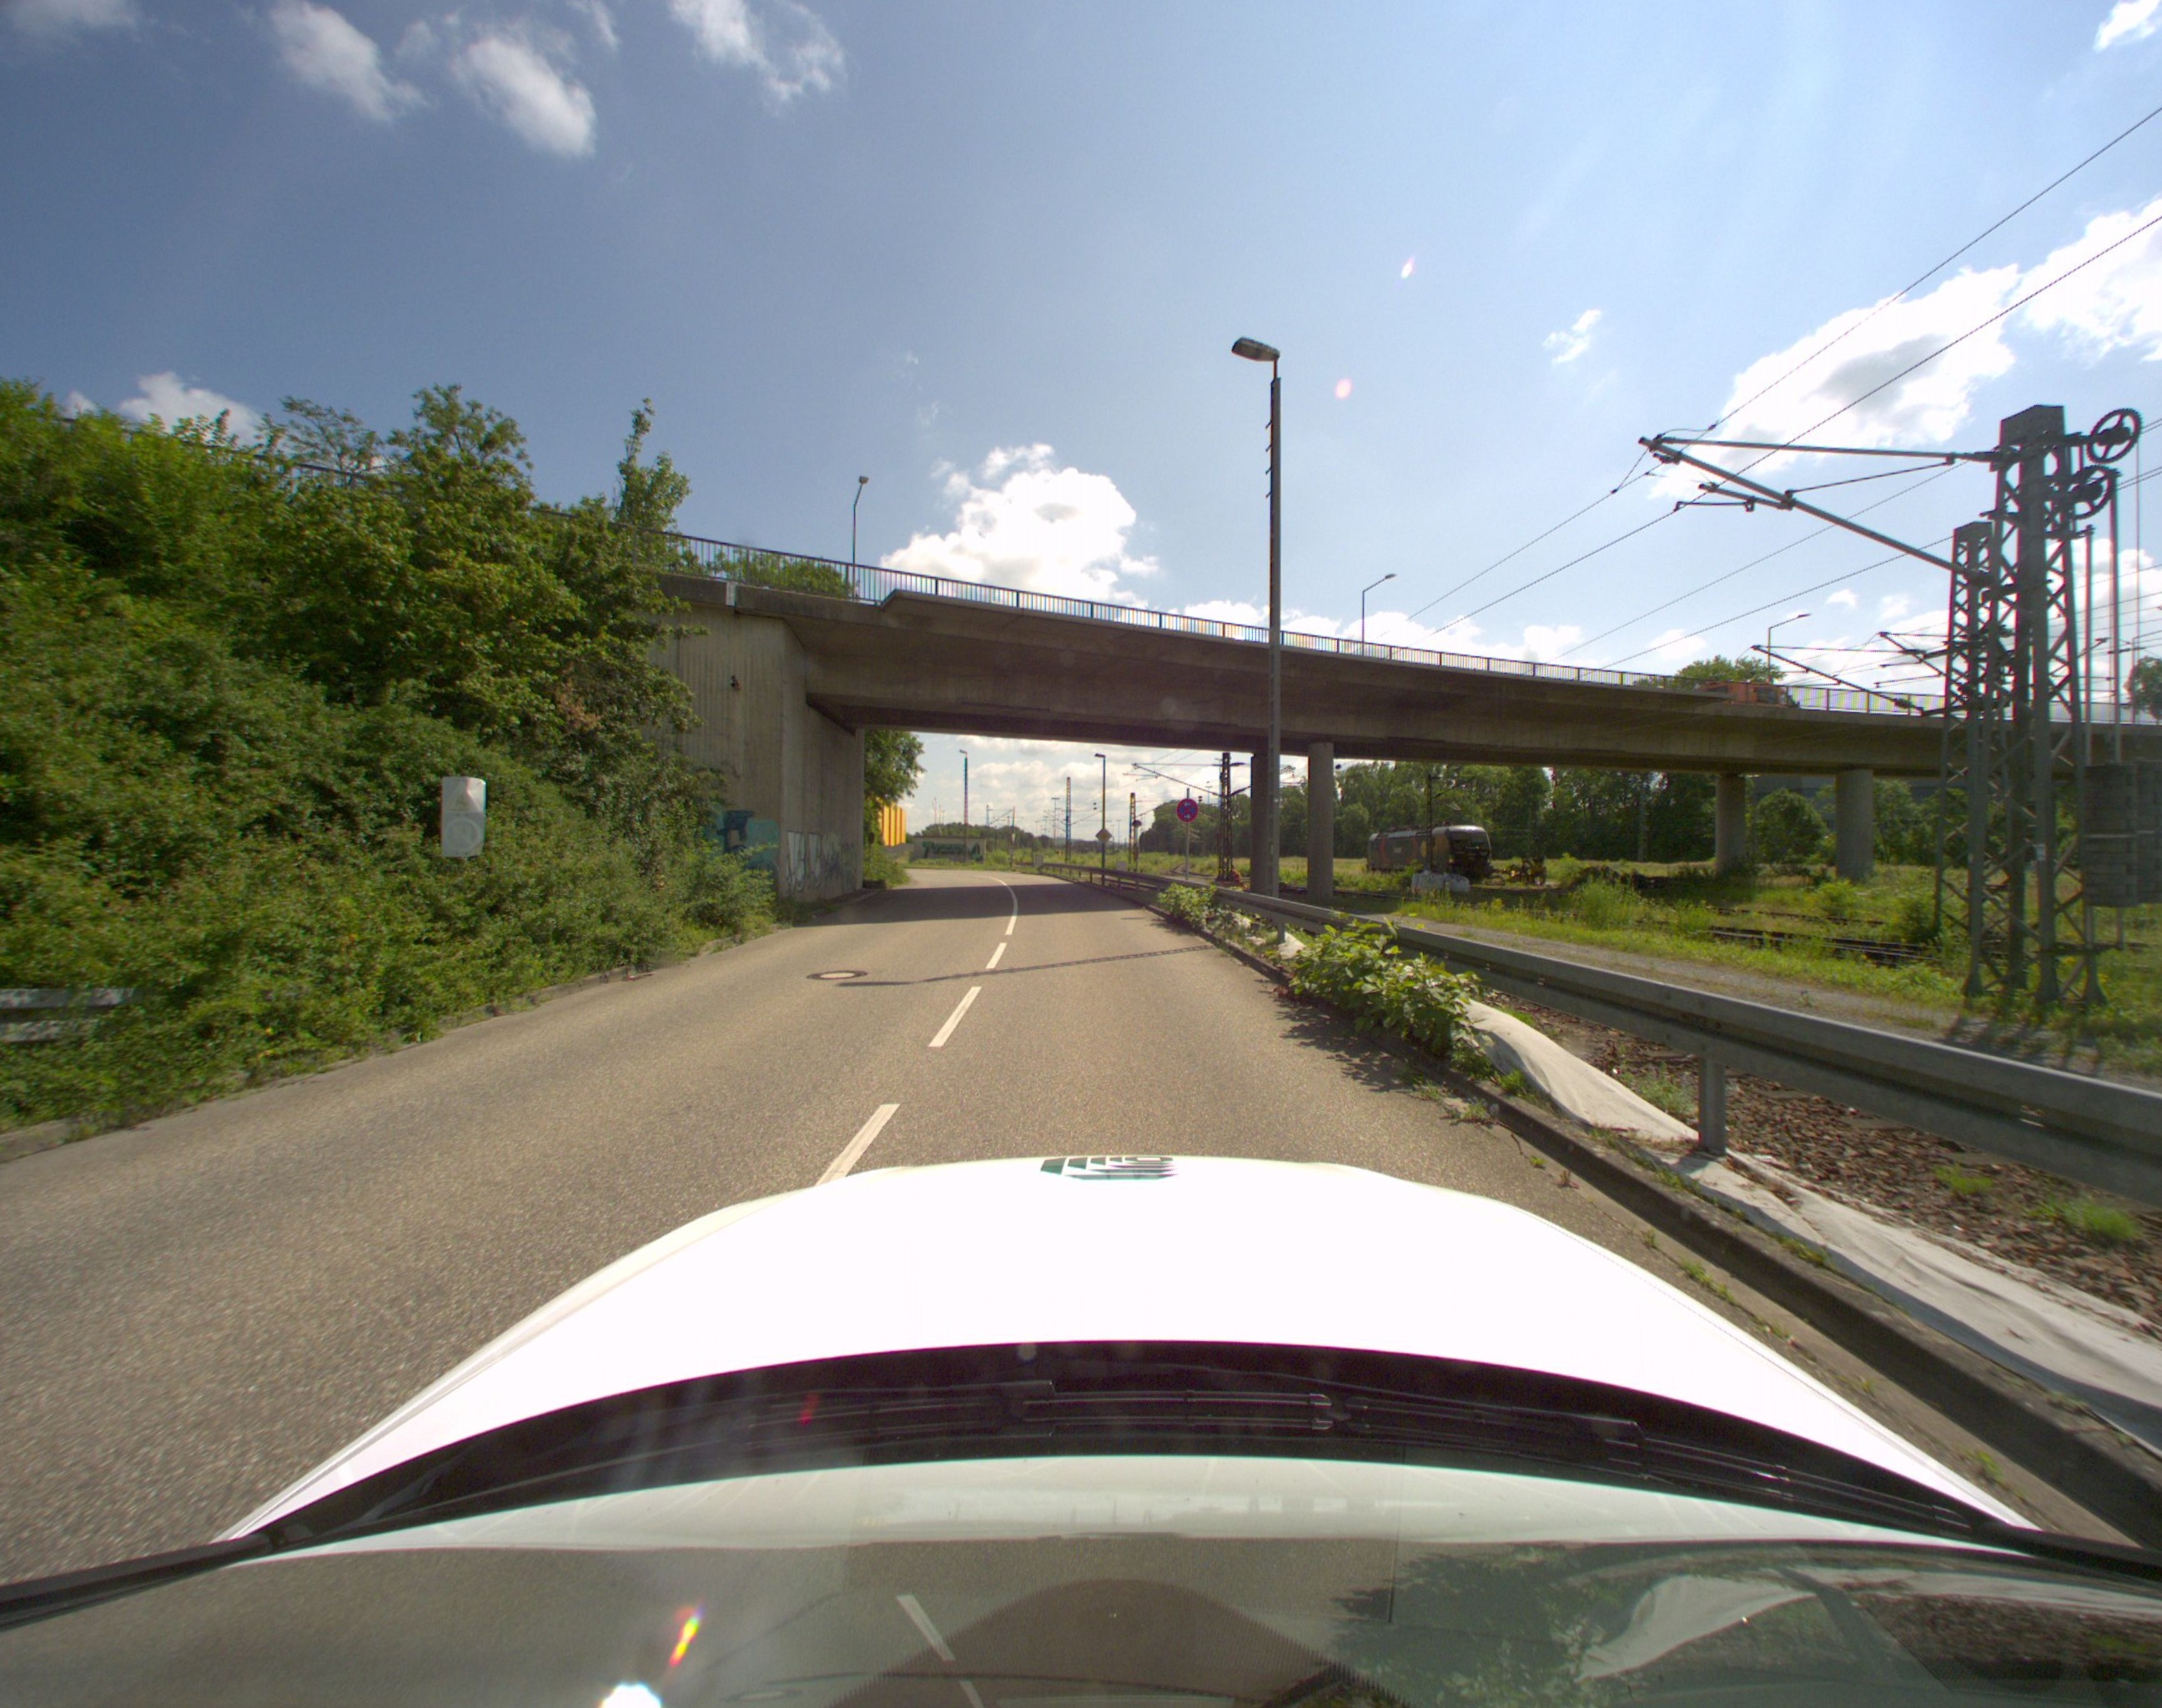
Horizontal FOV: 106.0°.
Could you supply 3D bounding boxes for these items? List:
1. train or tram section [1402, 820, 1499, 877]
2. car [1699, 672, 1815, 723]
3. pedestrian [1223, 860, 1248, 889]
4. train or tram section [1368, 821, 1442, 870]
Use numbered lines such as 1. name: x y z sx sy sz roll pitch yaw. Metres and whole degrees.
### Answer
1. train or tram section: 24.170 -0.296 53.871 2.878 3.509 8.571 0 -1 3
2. car: 34.536 -7.927 41.622 5.334 2.014 1.988 -2 -2 -18
3. pedestrian: 8.452 1.099 44.625 1.106 1.540 1.579 0 -1 0
4. train or tram section: 24.578 -0.557 62.315 2.744 3.477 8.244 0 -1 3
